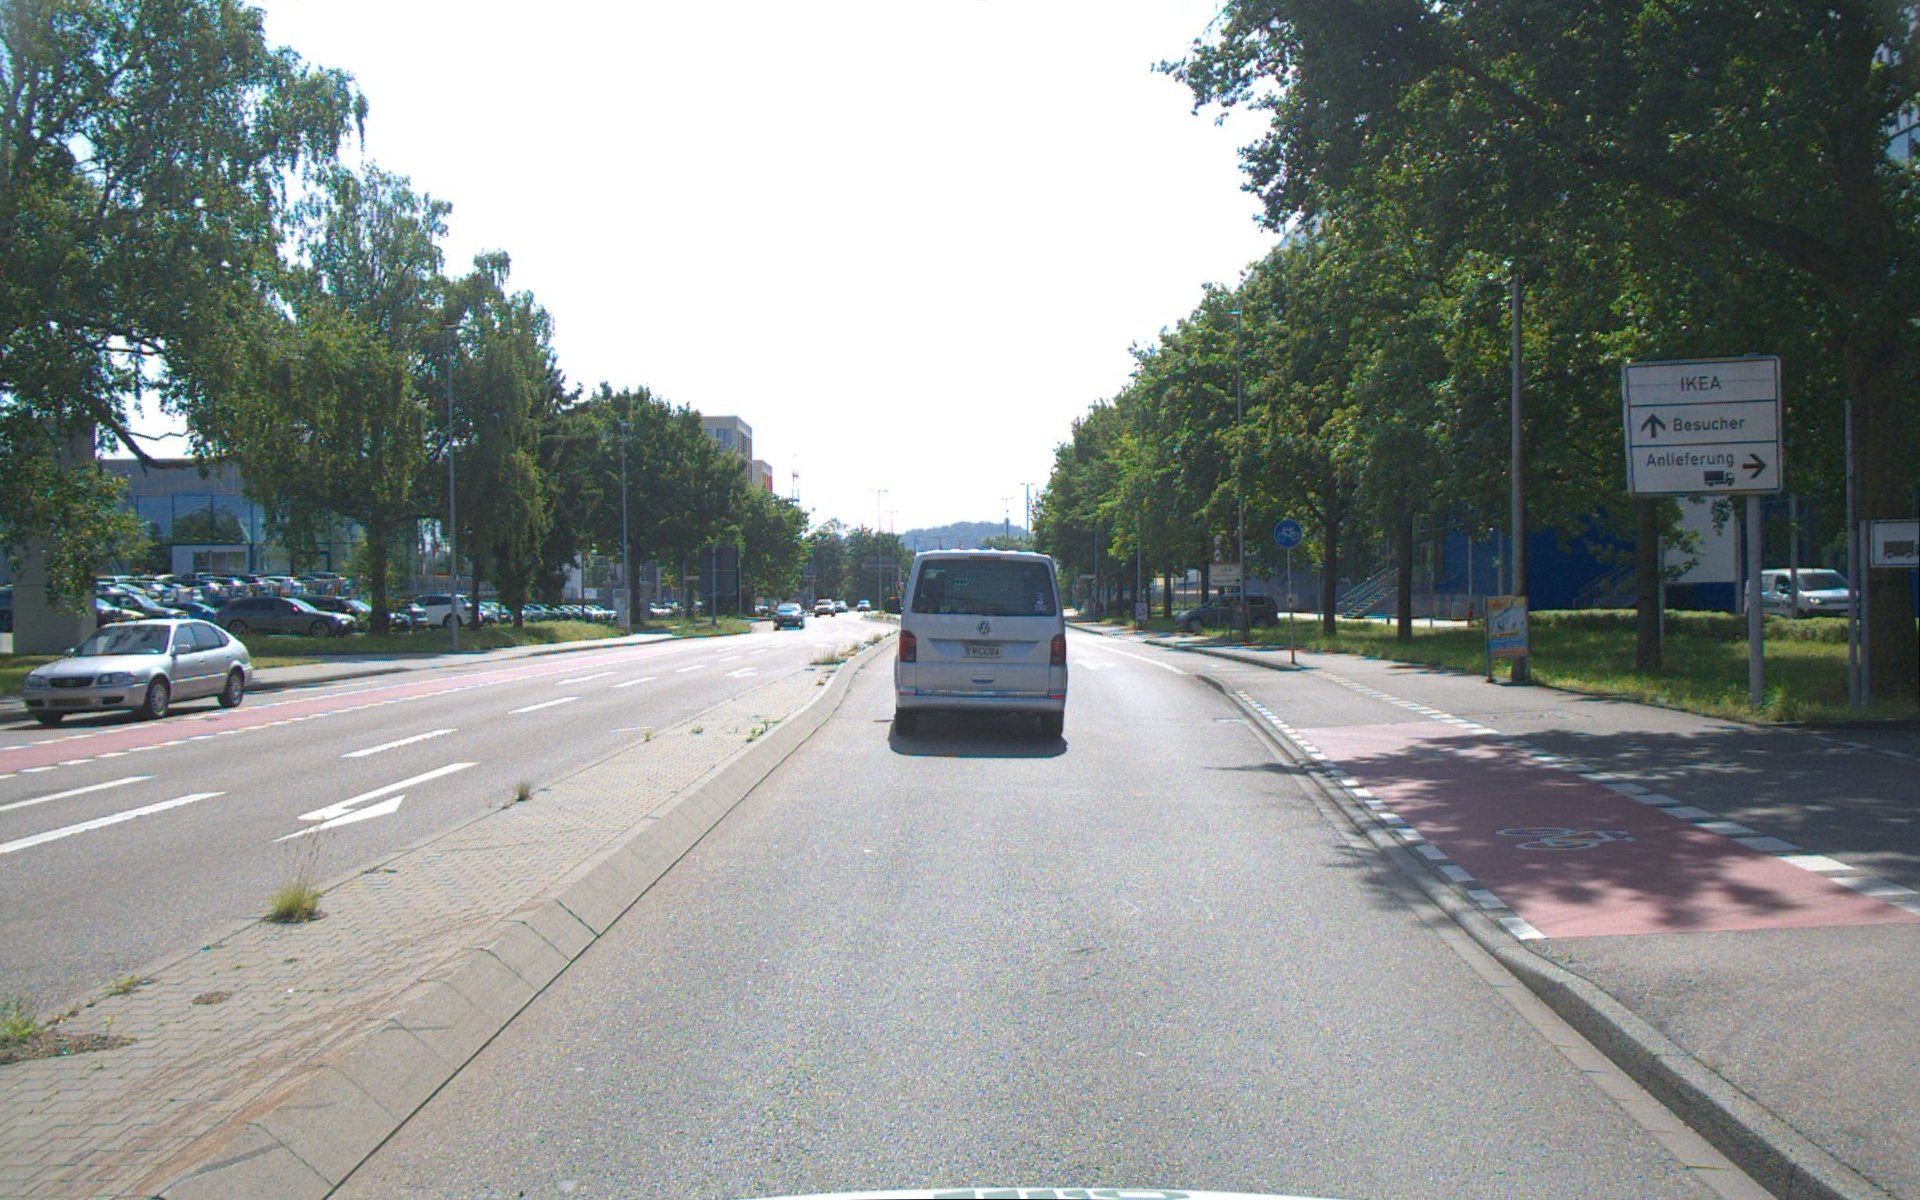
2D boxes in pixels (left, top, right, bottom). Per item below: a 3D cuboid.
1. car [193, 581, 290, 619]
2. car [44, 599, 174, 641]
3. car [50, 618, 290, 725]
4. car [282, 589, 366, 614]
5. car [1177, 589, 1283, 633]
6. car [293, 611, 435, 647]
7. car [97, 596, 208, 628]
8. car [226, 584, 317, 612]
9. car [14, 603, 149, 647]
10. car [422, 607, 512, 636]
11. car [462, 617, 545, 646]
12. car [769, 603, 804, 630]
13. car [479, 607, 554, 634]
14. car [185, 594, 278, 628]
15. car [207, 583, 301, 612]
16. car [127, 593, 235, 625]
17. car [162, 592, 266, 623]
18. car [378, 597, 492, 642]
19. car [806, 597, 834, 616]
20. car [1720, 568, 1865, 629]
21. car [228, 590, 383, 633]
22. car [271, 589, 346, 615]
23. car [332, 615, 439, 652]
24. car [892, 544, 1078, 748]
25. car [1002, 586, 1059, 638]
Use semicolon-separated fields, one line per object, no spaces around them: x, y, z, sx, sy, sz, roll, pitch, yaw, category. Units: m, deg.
-39.184;0.024;90.295;4.409;1.996;1.979;-1;0;-3;car
-33.596;0.779;65.373;4.157;1.592;1.804;1;0;-2;car
-11.953;1.022;25.365;1.602;1.412;4.318;-2;0;0;car
-39.893;0.106;103.819;4.427;1.522;1.986;1;0;-1;car
11.548;0.470;70.990;4.350;1.723;1.845;-2;-1;6;car
-23.005;1.112;63.942;4.752;1.290;2.000;1;0;-1;car
-39.089;0.586;80.102;4.409;1.443;1.890;1;0;-3;car
-39.651;-0.100;95.279;4.409;1.511;1.979;-1;0;-3;car
-33.563;0.953;63.252;4.157;1.592;1.804;1;0;-2;car
-23.201;1.004;77.966;3.715;1.308;1.744;1;0;-3;car
-24.108;1.657;87.436;3.809;1.364;1.839;-2;0;-3;car
-10.357;0.967;99.123;1.663;1.545;4.026;-2;0;-1;car
-24.066;1.118;89.811;3.522;1.307;1.864;-2;0;-3;car
-38.567;0.570;87.602;4.183;1.735;1.664;-1;0;-3;car
-39.622;-0.124;92.940;4.409;1.578;1.979;-1;0;-3;car
-38.792;0.449;82.455;4.409;1.511;1.979;-1;0;-3;car
-38.393;0.383;85.189;4.409;1.511;1.979;-1;0;-3;car
-23.346;0.849;73.620;4.371;1.908;2.000;1;0;0;car
-12.729;0.580;150.765;1.952;1.646;4.106;-2;0;3;car
24.102;-0.036;48.072;1.814;1.668;4.300;1;0;-4;car
-22.774;0.397;57.703;4.591;1.414;2.000;1;0;-1;car
-39.871;0.103;101.268;3.906;1.522;1.667;1;0;-1;car
-22.897;1.340;66.013;3.605;1.395;1.816;1;0;-1;car
0.234;0.468;18.590;1.846;2.025;3.999;1;0;-1;car
2.794;0.469;66.469;1.928;2.002;5.124;1;0;-1;car
